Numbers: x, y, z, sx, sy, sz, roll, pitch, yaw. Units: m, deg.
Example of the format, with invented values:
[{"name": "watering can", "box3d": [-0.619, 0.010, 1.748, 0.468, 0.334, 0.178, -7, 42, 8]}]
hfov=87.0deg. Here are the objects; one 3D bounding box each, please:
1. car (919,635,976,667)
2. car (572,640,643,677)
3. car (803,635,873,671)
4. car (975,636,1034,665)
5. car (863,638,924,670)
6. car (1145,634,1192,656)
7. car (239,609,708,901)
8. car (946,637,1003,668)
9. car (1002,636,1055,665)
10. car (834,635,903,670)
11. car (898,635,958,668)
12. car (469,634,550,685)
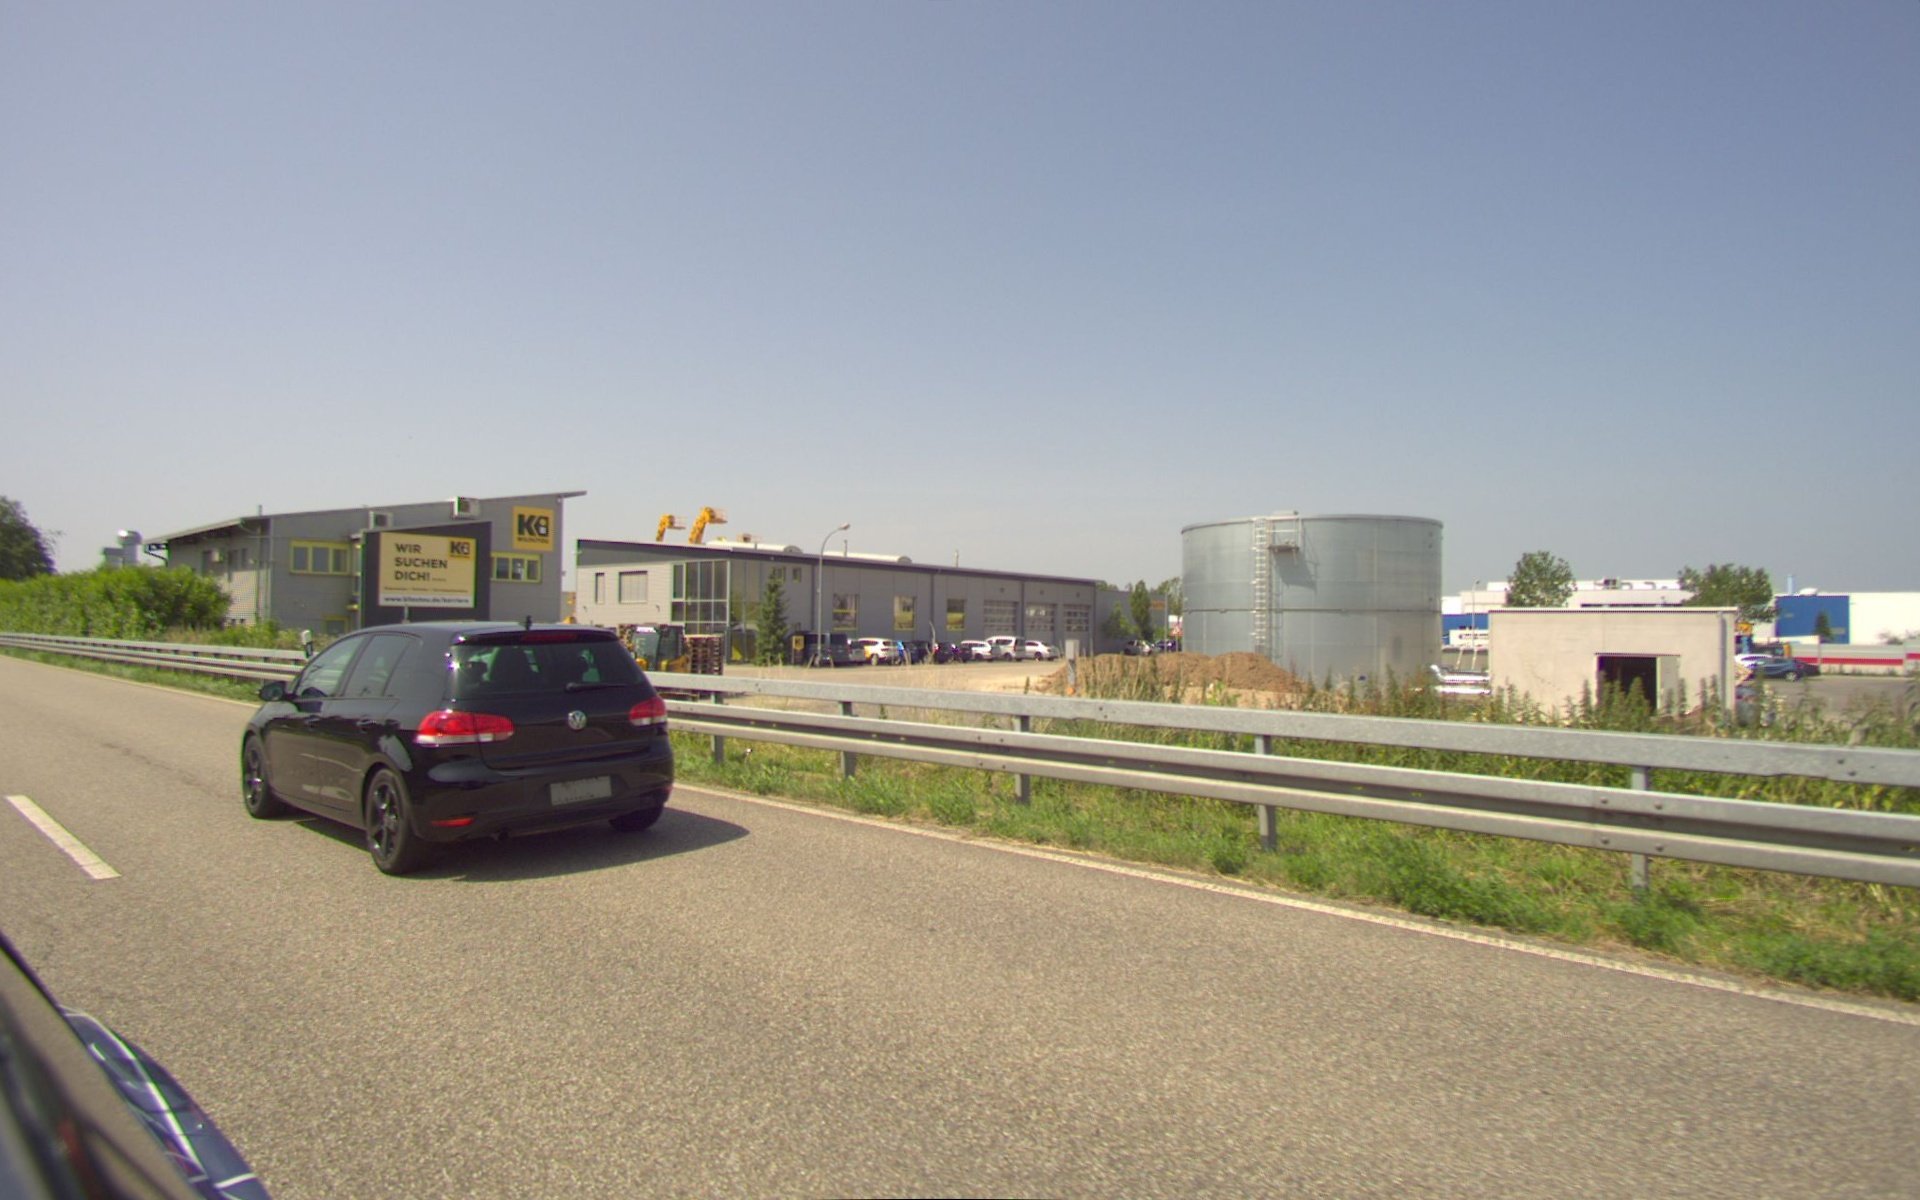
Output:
[{"name": "car", "box3d": [-0.855, 3.451, 68.416, 3.526, 2.029, 1.810, -1, -4, 42]}, {"name": "car", "box3d": [-16.756, 2.756, 48.077, 3.306, 1.686, 1.537, -1, -3, 36]}, {"name": "car", "box3d": [-7.292, 3.142, 60.260, 3.997, 2.029, 1.973, -1, -2, 40]}, {"name": "car", "box3d": [3.268, 3.698, 74.352, 3.997, 2.029, 1.973, -1, -2, 40]}, {"name": "car", "box3d": [-4.269, 3.414, 64.469, 3.688, 1.915, 1.810, -1, -4, 42]}, {"name": "car", "box3d": [20.177, 4.301, 97.796, 3.999, 2.029, 1.972, -1, -4, 42]}, {"name": "car", "box3d": [-3.421, 0.814, 6.819, 3.652, 1.446, 1.524, -2, -1, 41]}, {"name": "car", "box3d": [0.994, 3.653, 70.813, 3.688, 2.029, 1.810, -1, -4, 42]}, {"name": "car", "box3d": [5.127, 3.798, 76.267, 3.599, 2.029, 1.810, -1, 0, 42]}, {"name": "car", "box3d": [-5.647, 3.227, 62.352, 3.997, 2.029, 1.973, -1, -3, 40]}, {"name": "car", "box3d": [-2.110, 3.363, 66.022, 3.688, 2.029, 1.810, -1, -4, 42]}, {"name": "car", "box3d": [-18.786, 2.453, 42.137, 3.477, 2.029, 1.458, -1, -4, 36]}]
